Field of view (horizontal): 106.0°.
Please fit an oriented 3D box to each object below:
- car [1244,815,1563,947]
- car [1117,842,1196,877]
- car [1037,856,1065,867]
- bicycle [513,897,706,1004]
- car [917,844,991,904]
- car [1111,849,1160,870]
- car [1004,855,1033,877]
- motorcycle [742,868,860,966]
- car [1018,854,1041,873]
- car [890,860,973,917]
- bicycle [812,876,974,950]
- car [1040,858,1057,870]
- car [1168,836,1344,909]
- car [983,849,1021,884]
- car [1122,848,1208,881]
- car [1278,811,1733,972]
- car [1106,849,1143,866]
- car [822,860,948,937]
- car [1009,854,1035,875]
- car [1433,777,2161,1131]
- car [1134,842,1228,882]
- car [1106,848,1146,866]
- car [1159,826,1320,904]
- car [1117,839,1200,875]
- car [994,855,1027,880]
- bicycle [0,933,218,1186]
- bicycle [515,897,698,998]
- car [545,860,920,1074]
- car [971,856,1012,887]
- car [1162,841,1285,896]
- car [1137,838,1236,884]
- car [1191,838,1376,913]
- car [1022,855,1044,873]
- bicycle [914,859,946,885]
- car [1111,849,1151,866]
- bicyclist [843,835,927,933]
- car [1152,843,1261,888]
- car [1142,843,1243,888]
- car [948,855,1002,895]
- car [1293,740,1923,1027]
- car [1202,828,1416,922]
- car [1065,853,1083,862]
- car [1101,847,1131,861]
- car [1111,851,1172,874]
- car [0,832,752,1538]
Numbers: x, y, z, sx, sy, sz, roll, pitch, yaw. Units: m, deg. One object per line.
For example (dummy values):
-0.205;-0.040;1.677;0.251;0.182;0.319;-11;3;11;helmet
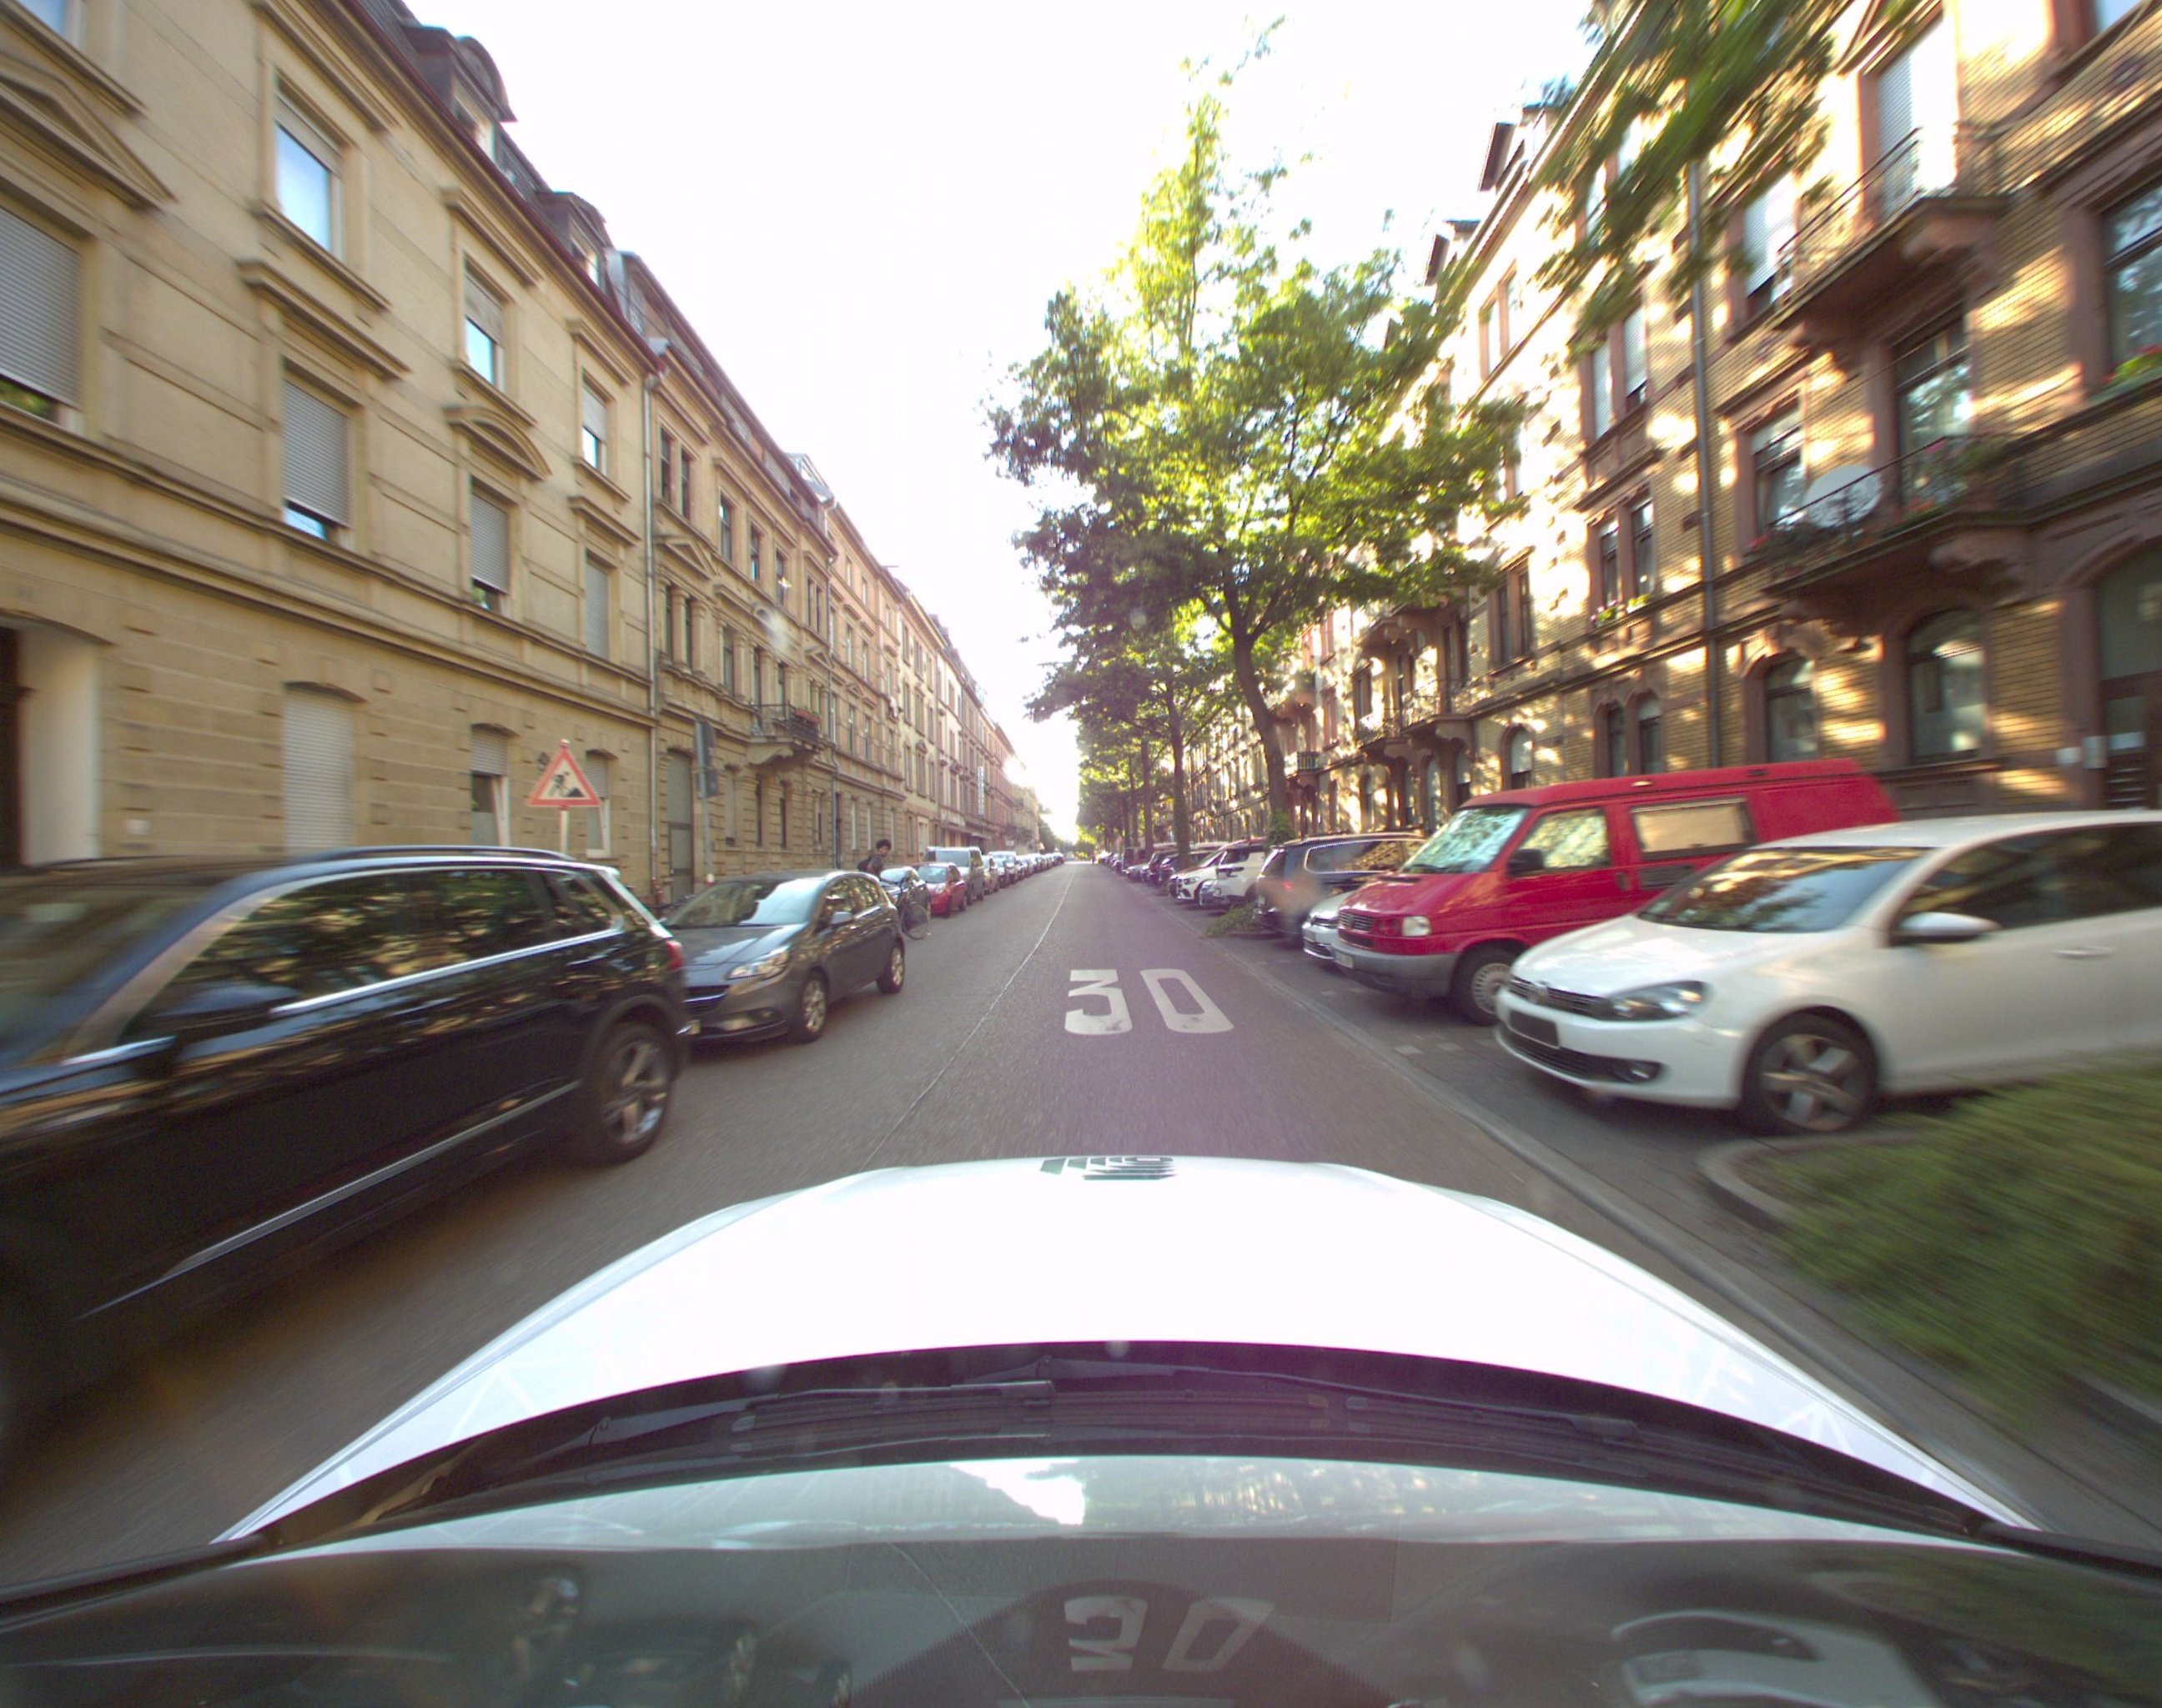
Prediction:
4.816;0.401;12.665;4.169;1.627;1.839;-4;-1;3;car
4.506;0.317;48.422;4.235;1.795;1.823;-4;0;-20;car
-4.267;1.020;116.510;1.974;1.486;4.025;-4;-2;32;car
-5.288;1.072;9.194;1.861;1.128;0.528;-1;-1;0;bicycle
-4.453;0.644;29.283;1.826;1.943;5.259;0;0;0;car
4.489;0.431;67.348;3.842;1.479;1.716;-4;0;-4;car
-4.413;0.820;57.755;1.753;1.473;4.057;-3;0;-1;car
-4.442;0.947;13.214;1.063;1.370;2.604;-1;0;-2;motorcycle
-4.324;0.803;68.876;1.753;1.473;4.057;-3;0;-1;car
-4.245;0.943;23.691;1.586;1.475;3.701;0;0;2;car
-3.648;1.109;16.050;2.938;1.158;0.987;-3;1;-40;bicycle
-4.239;1.309;106.280;1.988;1.486;3.998;-2;-2;-1;car
4.712;0.472;22.340;4.332;1.556;1.849;-5;1;-1;car
-4.466;0.687;46.603;1.753;1.842;4.527;-3;0;-1;car
4.376;0.525;42.783;4.214;1.403;1.832;-4;0;-5;car
5.045;0.442;10.212;4.657;1.514;1.879;-4;-1;1;car
4.882;0.385;91.693;3.848;1.573;1.713;-4;0;-8;car
-4.453;0.953;19.138;1.751;1.501;4.062;-3;0;2;car
-4.495;0.782;62.623;1.753;1.473;4.057;-3;0;-1;car
4.572;0.438;4.881;4.042;1.510;1.878;-4;-1;-1;car
4.919;0.385;40.413;4.218;1.610;1.830;-4;0;-8;car
4.644;0.347;84.641;3.848;1.573;1.713;-4;0;-8;car
4.768;0.293;24.905;4.434;1.924;1.848;-5;1;-3;car
4.927;0.198;52.163;5.041;1.925;1.835;-4;0;-1;car
-4.459;0.830;51.654;1.753;1.473;4.057;-3;0;-1;car
-5.580;1.010;3.928;1.875;1.128;0.524;0;-1;-23;bicycle
-5.644;1.101;9.731;1.861;1.128;0.528;-1;-1;0;bicycle
-3.050;0.875;8.187;1.751;1.501;4.063;-3;0;3;car
-4.517;0.873;41.636;1.753;1.467;3.998;0;0;-1;car
4.745;0.458;27.411;3.655;1.455;1.846;-5;1;-7;car
4.829;0.326;37.708;4.209;1.776;1.834;-4;0;-2;car
4.862;0.507;19.969;3.998;1.434;1.794;-5;-1;-1;car
-4.320;0.873;73.641;1.753;1.473;4.057;-3;0;-1;car
-8.181;0.963;44.393;1.038;1.318;3.999;-1;0;-1;bicycle
5.333;0.355;87.052;3.848;1.573;1.713;-4;0;-8;car
-3.835;0.555;15.937;1.214;1.789;0.987;-3;0;-40;bicyclist
4.967;0.461;32.475;3.998;1.467;1.733;-4;-1;-1;car
4.741;0.482;34.877;3.998;1.607;1.733;-4;-1;-1;car
-4.509;0.855;35.208;1.748;1.608;4.383;0;0;0;car
4.634;0.224;7.635;4.665;2.033;1.876;-4;-1;-3;car
4.793;0.436;17.517;4.000;1.627;1.804;-4;-1;-2;car
-1.608;0.746;185.506;3.965;1.859;1.755;-1;0;8;car
4.636;-0.026;109.433;3.839;1.573;1.717;-4;0;-1;car
4.085;0.563;55.012;3.842;1.293;1.716;-4;0;-4;car
-3.258;0.788;3.147;1.750;1.600;4.556;-3;0;4;car
